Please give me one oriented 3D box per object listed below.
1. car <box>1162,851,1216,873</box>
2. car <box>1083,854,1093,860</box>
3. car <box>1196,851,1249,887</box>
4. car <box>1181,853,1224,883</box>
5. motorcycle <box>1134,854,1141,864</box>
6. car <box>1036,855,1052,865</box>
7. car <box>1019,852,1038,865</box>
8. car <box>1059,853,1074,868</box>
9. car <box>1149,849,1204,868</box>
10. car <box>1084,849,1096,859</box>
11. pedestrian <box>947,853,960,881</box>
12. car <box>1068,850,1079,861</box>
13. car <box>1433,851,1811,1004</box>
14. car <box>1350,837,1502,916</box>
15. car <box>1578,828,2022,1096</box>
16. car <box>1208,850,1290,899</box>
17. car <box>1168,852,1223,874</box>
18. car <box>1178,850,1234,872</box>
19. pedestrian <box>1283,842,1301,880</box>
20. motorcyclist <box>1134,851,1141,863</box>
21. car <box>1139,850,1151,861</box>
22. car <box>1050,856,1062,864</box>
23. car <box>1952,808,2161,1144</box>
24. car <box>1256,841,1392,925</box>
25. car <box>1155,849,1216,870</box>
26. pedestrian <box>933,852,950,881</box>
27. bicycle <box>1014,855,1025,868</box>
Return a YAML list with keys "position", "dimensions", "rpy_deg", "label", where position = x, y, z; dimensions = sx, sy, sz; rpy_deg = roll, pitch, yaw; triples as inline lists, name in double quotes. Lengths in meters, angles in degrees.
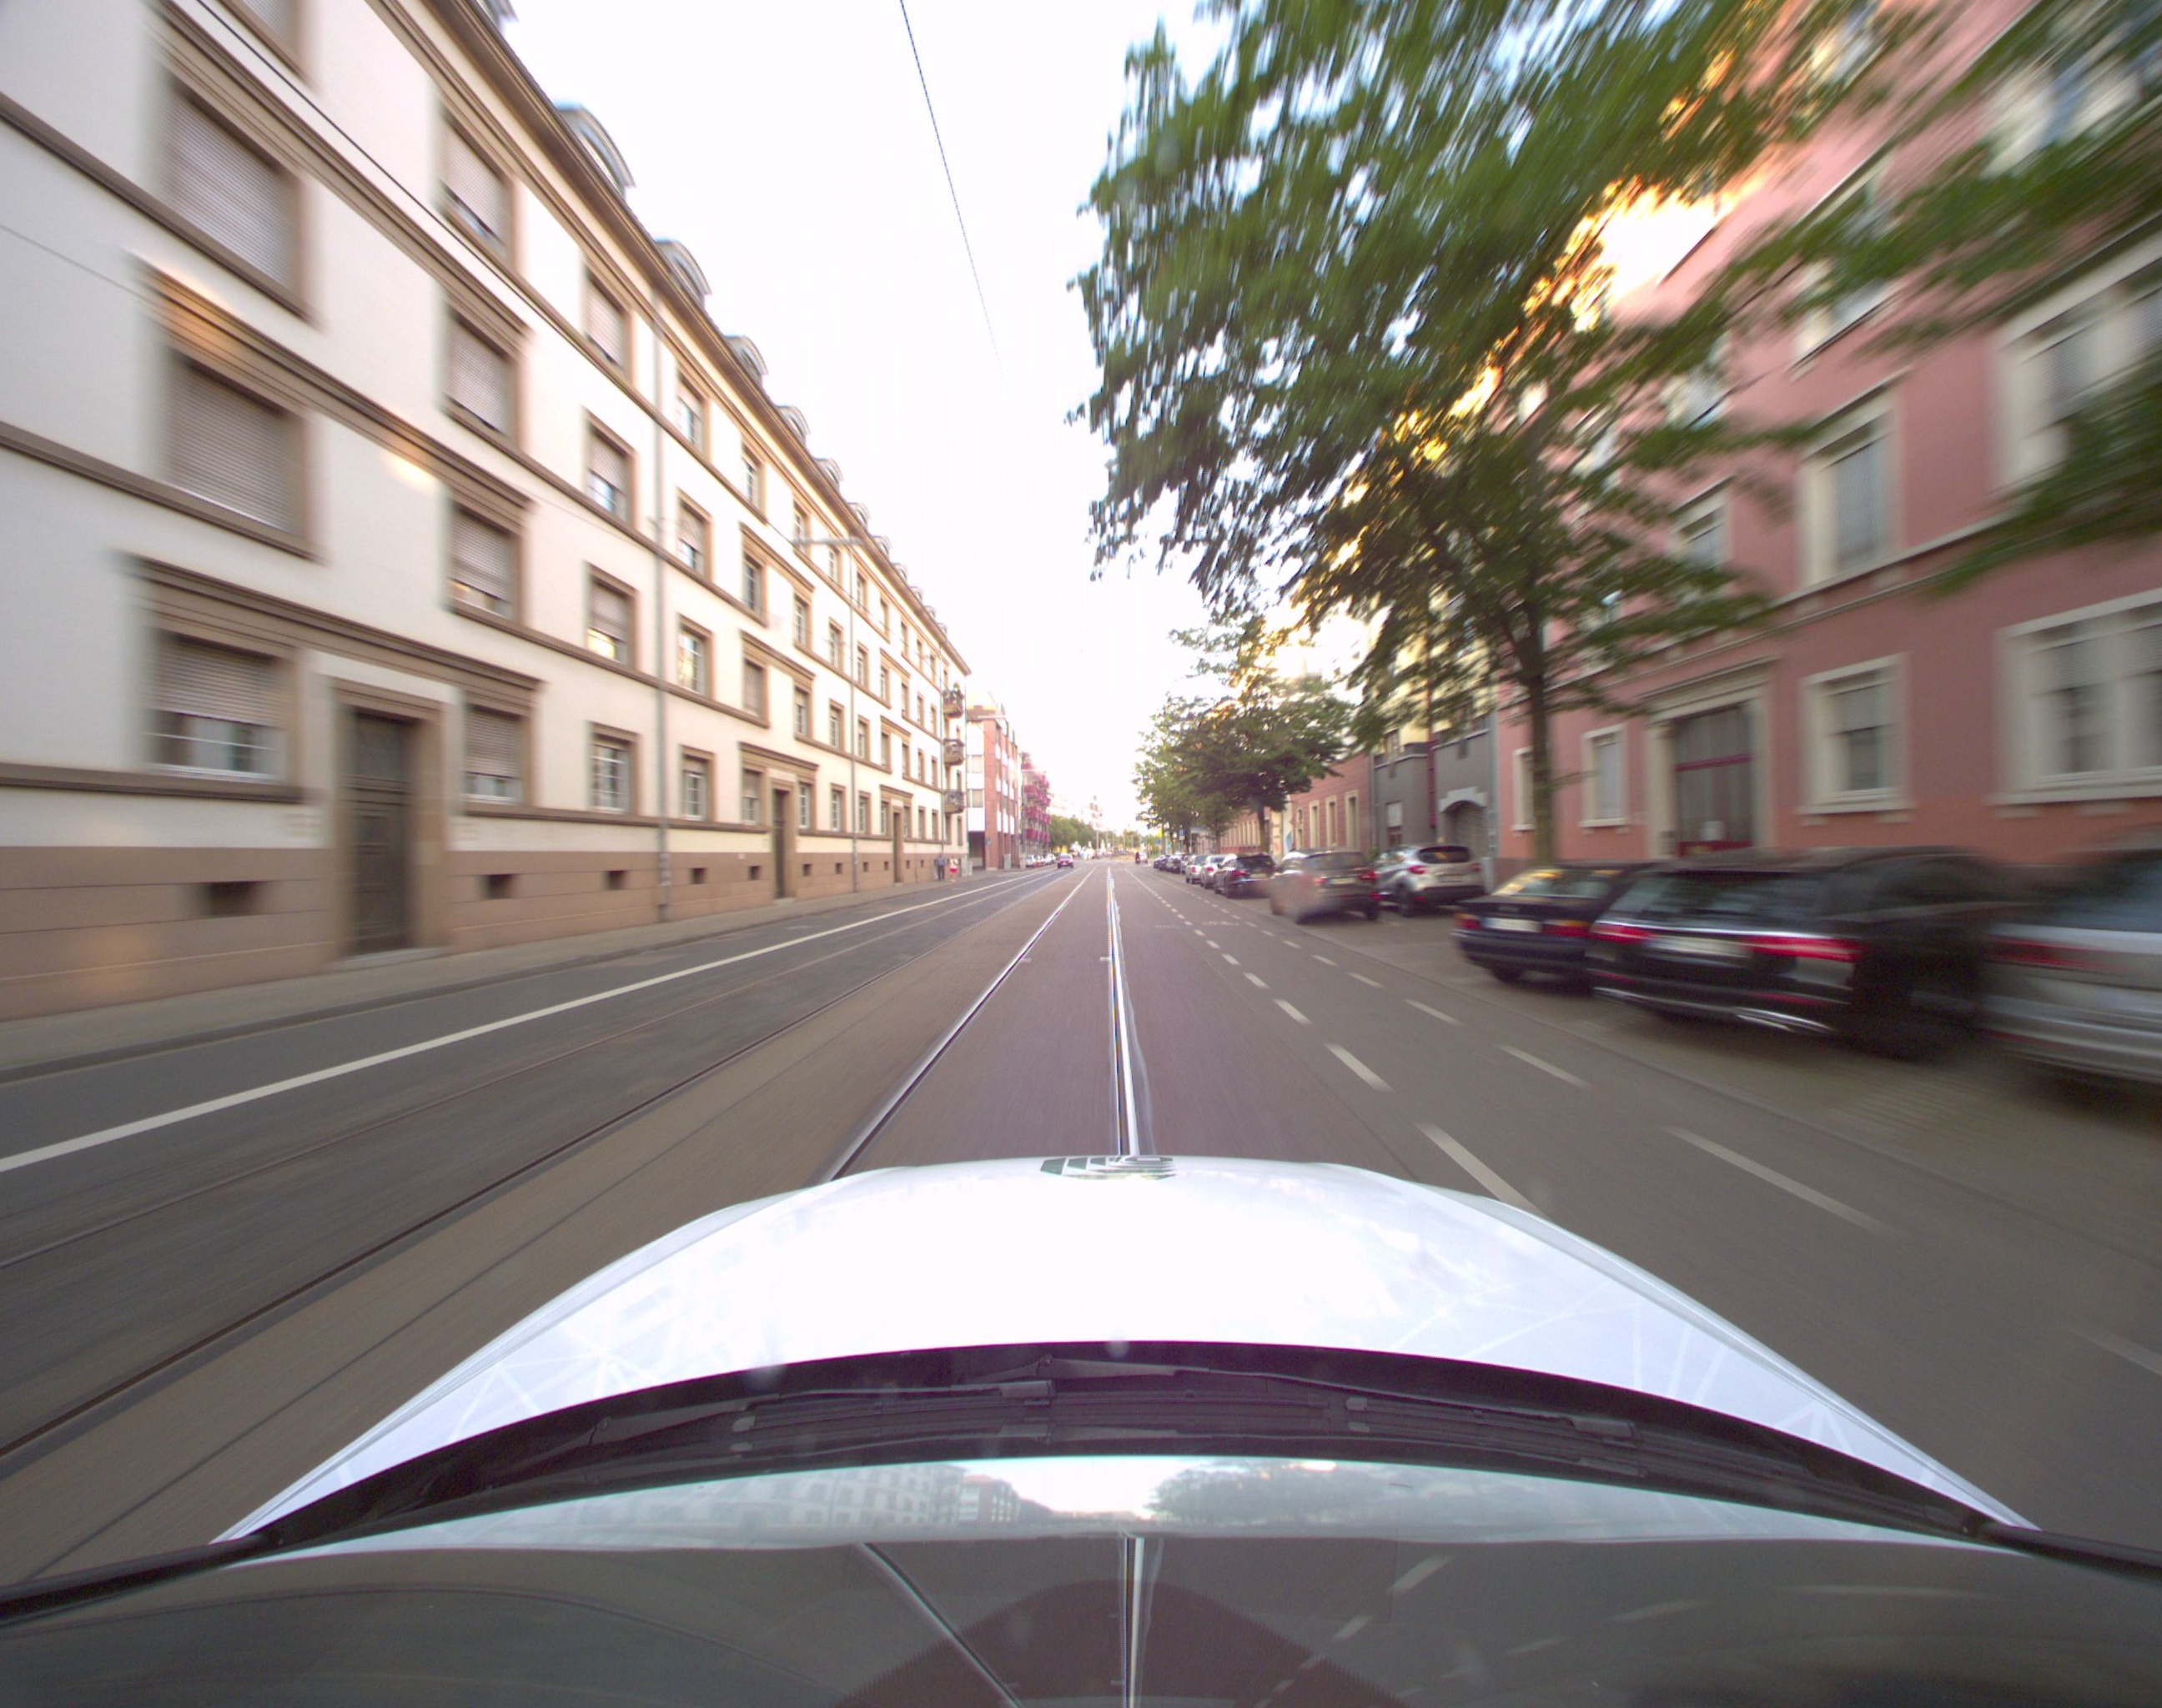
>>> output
- position: [8.130, 0.584, 61.312]
  dimensions: [3.571, 1.516, 1.730]
  rpy_deg: [-2, 0, -24]
  label: "car"
- position: [1.731, 0.785, 198.255]
  dimensions: [1.673, 1.439, 4.136]
  rpy_deg: [-1, 0, 9]
  label: "car"
- position: [6.090, 0.632, 35.541]
  dimensions: [1.772, 1.381, 4.696]
  rpy_deg: [-3, 0, 4]
  label: "car"
- position: [6.080, 0.691, 41.090]
  dimensions: [1.613, 1.381, 3.777]
  rpy_deg: [-3, 0, 2]
  label: "car"
- position: [7.571, 0.697, 109.050]
  dimensions: [0.824, 1.240, 2.495]
  rpy_deg: [-1, 0, 5]
  label: "motorcycle"
- position: [-5.228, 0.866, 115.715]
  dimensions: [1.684, 1.414, 4.682]
  rpy_deg: [1, 0, 4]
  label: "car"
- position: [-6.158, 0.537, 95.453]
  dimensions: [1.710, 1.555, 4.206]
  rpy_deg: [0, 0, 2]
  label: "car"
- position: [-1.594, 0.657, 89.820]
  dimensions: [1.554, 1.558, 3.754]
  rpy_deg: [-2, 0, 0]
  label: "car"
- position: [8.510, 0.424, 72.378]
  dimensions: [4.625, 1.457, 1.697]
  rpy_deg: [-3, 0, -23]
  label: "car"
- position: [2.350, 0.024, 203.993]
  dimensions: [2.449, 2.482, 5.817]
  rpy_deg: [-1, 0, 5]
  label: "car"
- position: [-7.525, 0.746, 48.096]
  dimensions: [0.589, 1.609, 0.811]
  rpy_deg: [-1, 0, -1]
  label: "pedestrian"
- position: [-2.118, 0.552, 240.830]
  dimensions: [2.188, 3.152, 6.159]
  rpy_deg: [-1, 0, 10]
  label: "car"
- position: [6.274, 0.703, 9.393]
  dimensions: [4.269, 1.388, 1.608]
  rpy_deg: [-1, 0, -24]
  label: "car"
- position: [7.803, 0.468, 18.878]
  dimensions: [1.873, 1.584, 4.021]
  rpy_deg: [-1, 0, 1]
  label: "car"
- position: [6.074, 0.630, 6.768]
  dimensions: [3.988, 1.553, 1.702]
  rpy_deg: [-3, 1, -32]
  label: "car"
- position: [5.723, 0.653, 28.376]
  dimensions: [1.986, 1.489, 5.038]
  rpy_deg: [-2, 0, 2]
  label: "car"
- position: [8.234, 0.611, 58.584]
  dimensions: [3.571, 1.429, 1.656]
  rpy_deg: [-2, 0, -24]
  label: "car"
- position: [8.648, 0.501, 56.437]
  dimensions: [3.491, 1.429, 1.611]
  rpy_deg: [-1, -2, -18]
  label: "car"
- position: [10.235, 0.344, 39.512]
  dimensions: [0.678, 1.816, 0.600]
  rpy_deg: [-1, 0, 2]
  label: "pedestrian"
- position: [7.571, 0.401, 109.093]
  dimensions: [0.824, 1.473, 1.209]
  rpy_deg: [-1, 0, 5]
  label: "motorcyclist"
- position: [9.278, 0.270, 118.837]
  dimensions: [1.709, 1.555, 4.207]
  rpy_deg: [0, 0, 3]
  label: "car"
- position: [-5.801, 1.438, 188.556]
  dimensions: [1.672, 1.700, 4.252]
  rpy_deg: [-1, 0, 11]
  label: "car"
- position: [7.066, 0.518, 4.457]
  dimensions: [4.000, 1.593, 1.708]
  rpy_deg: [-2, 1, -20]
  label: "car"
- position: [5.433, 0.593, 18.825]
  dimensions: [1.873, 1.618, 4.263]
  rpy_deg: [-4, 0, 1]
  label: "car"
- position: [8.494, 0.470, 66.413]
  dimensions: [4.461, 1.516, 2.048]
  rpy_deg: [-2, 0, -22]
  label: "car"
- position: [-8.253, 0.719, 48.074]
  dimensions: [0.793, 1.701, 0.981]
  rpy_deg: [-1, 0, -1]
  label: "pedestrian"
- position: [-6.862, 0.817, 90.941]
  dimensions: [0.605, 1.377, 2.264]
  rpy_deg: [-1, 0, 10]
  label: "bicycle"
